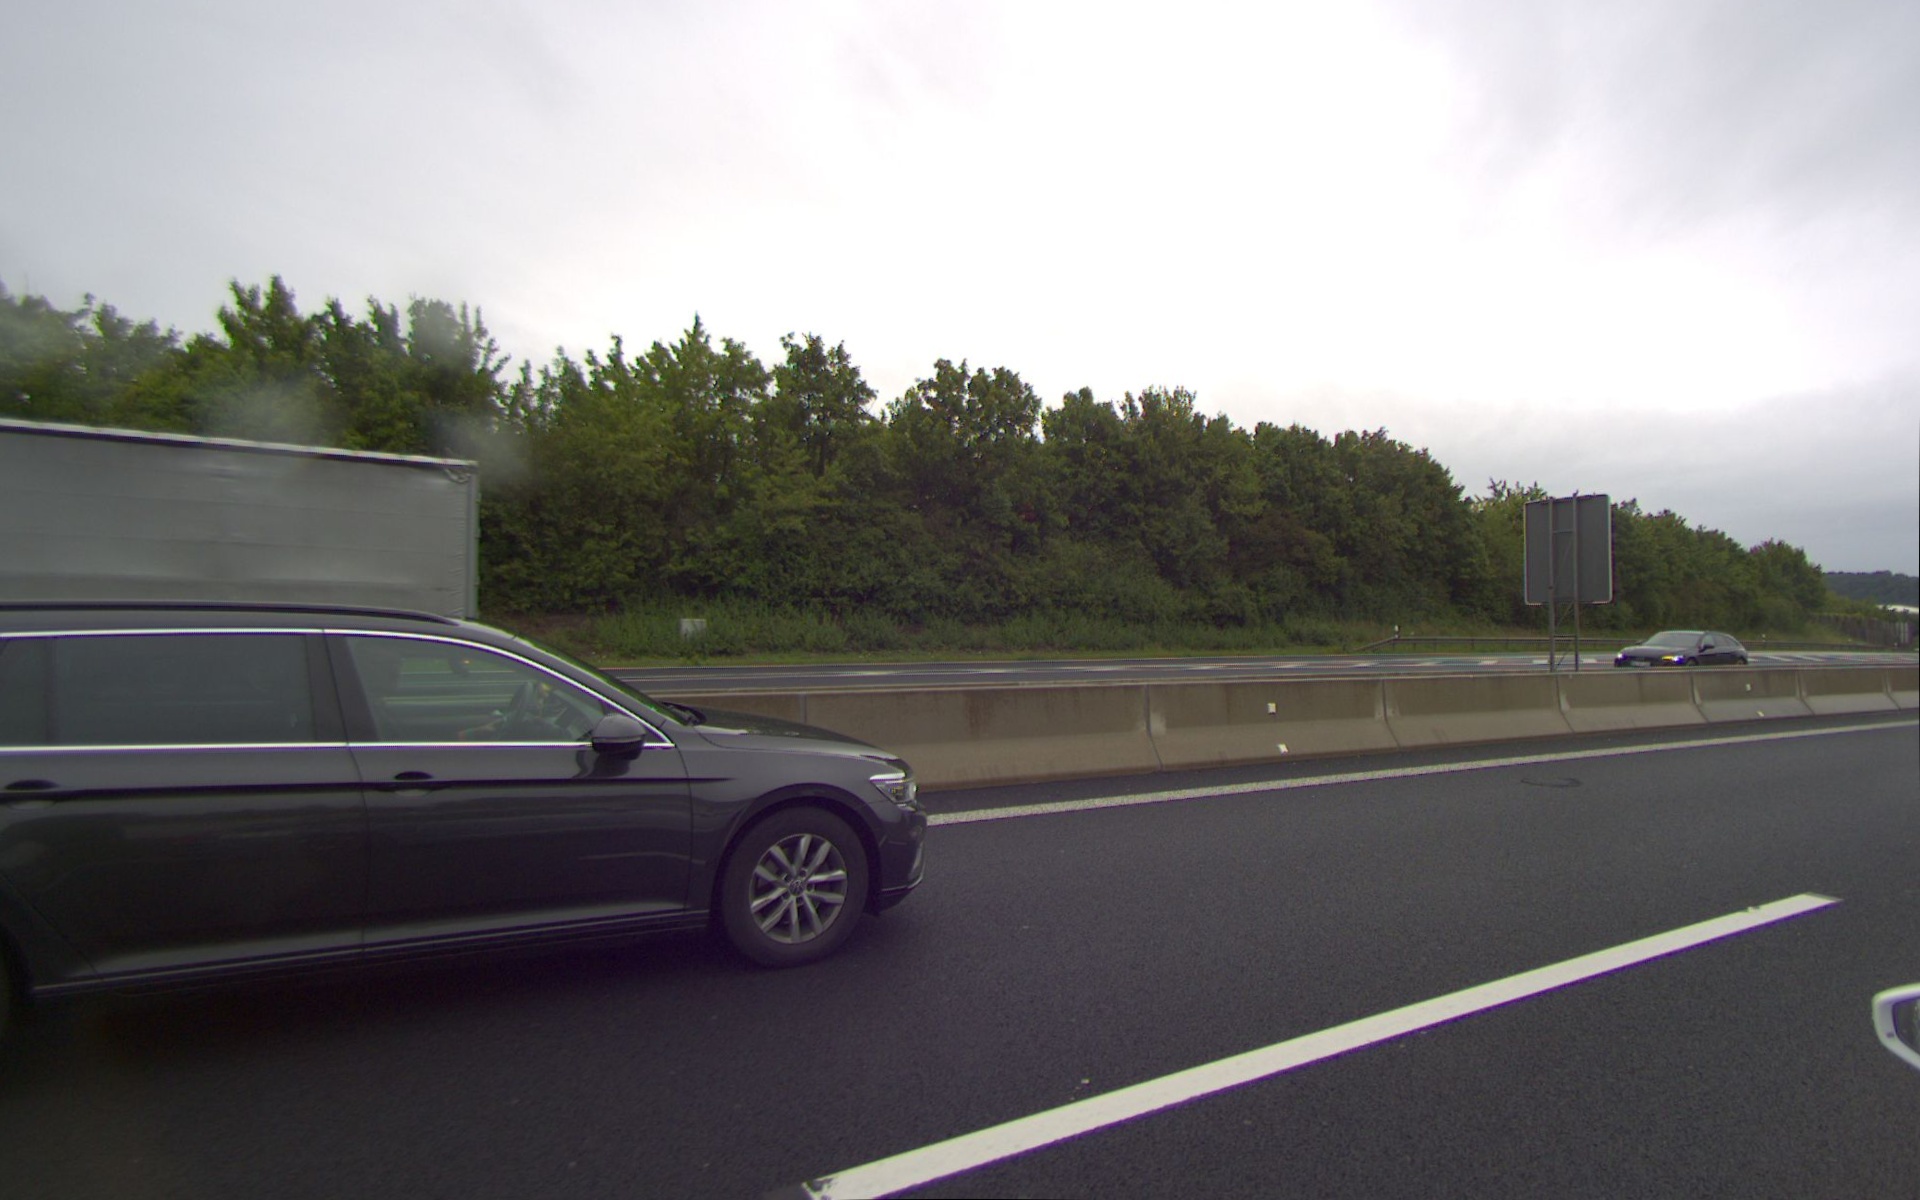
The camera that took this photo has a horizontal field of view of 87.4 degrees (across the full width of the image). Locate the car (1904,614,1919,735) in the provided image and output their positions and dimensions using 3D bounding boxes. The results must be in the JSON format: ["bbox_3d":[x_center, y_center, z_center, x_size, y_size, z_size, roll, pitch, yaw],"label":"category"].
[{"bbox_3d":[15.561,1.079,14.301,4.449,1.661,1.966,2,-1,-31],"label":"car"}]

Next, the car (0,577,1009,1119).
[{"bbox_3d":[-2.316,0.722,4.132,4.795,1.517,1.891,1,-1,-30],"label":"car"}]

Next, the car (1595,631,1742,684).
[{"bbox_3d":[20.851,1.654,29.535,4.326,1.424,1.892,1,-1,-30],"label":"car"}]

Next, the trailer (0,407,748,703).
[{"bbox_3d":[-10.825,-0.546,17.414,13.680,4.138,3.245,1,-1,-30],"label":"trailer"}]
